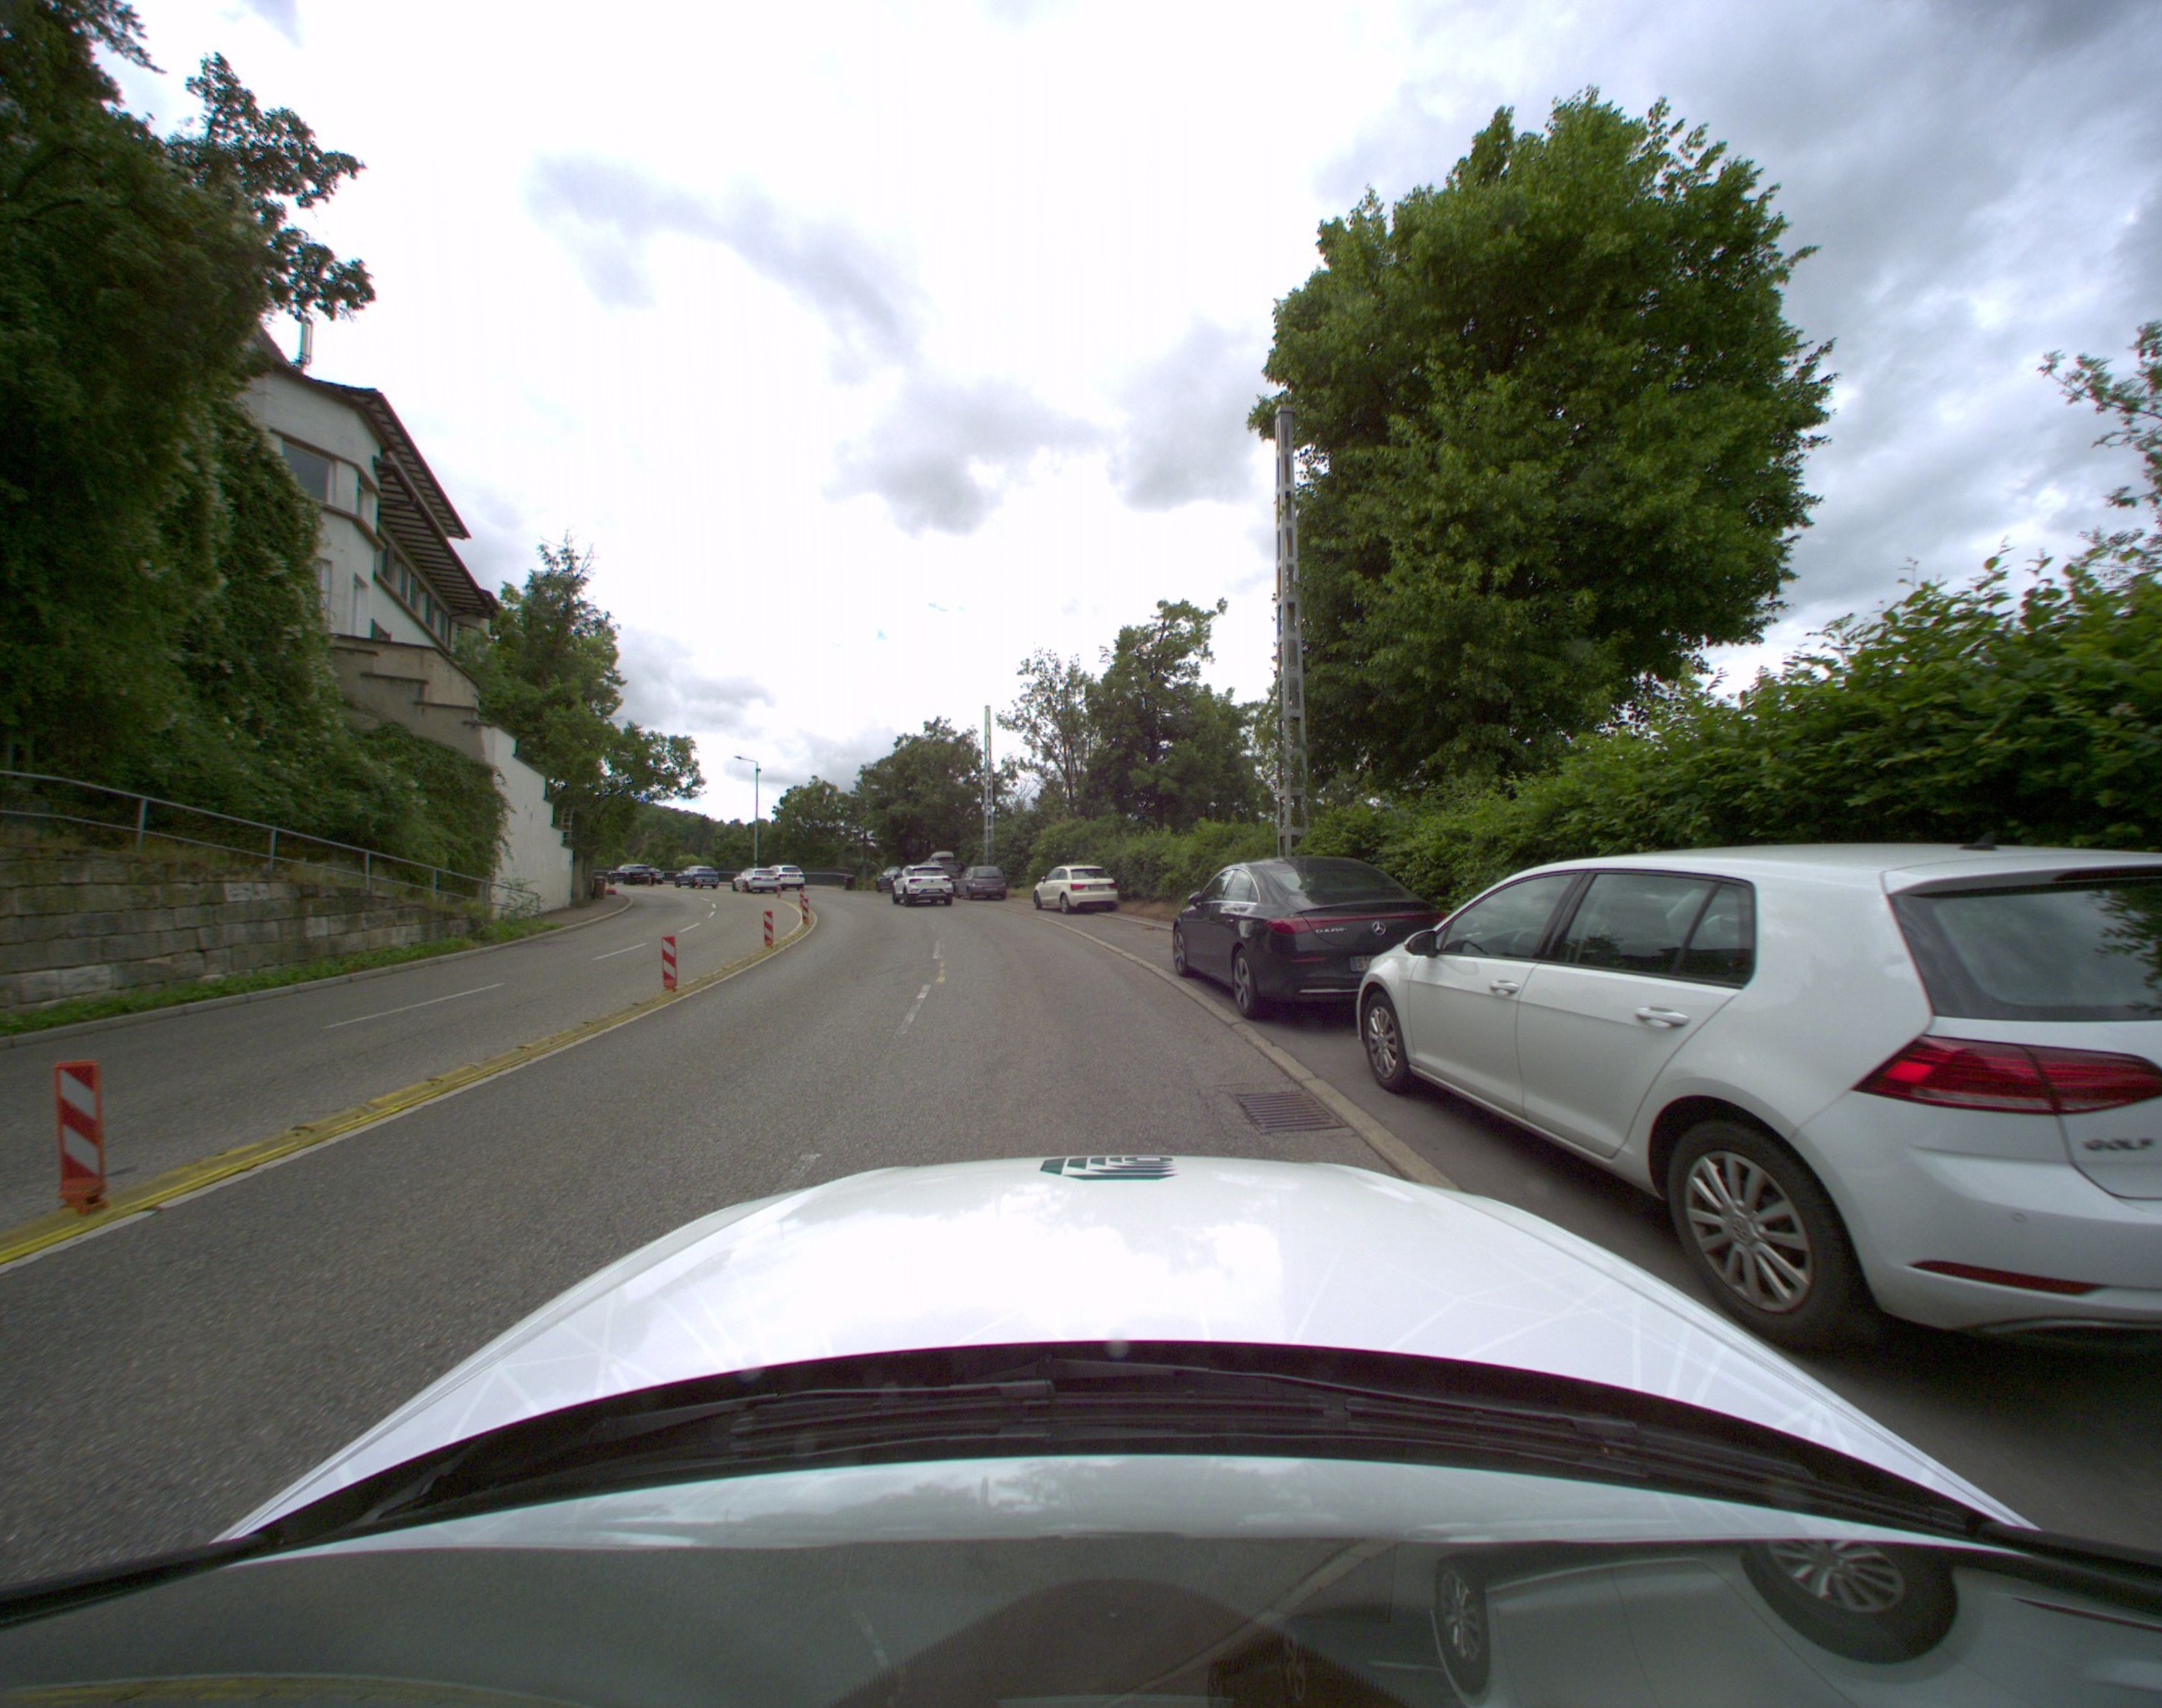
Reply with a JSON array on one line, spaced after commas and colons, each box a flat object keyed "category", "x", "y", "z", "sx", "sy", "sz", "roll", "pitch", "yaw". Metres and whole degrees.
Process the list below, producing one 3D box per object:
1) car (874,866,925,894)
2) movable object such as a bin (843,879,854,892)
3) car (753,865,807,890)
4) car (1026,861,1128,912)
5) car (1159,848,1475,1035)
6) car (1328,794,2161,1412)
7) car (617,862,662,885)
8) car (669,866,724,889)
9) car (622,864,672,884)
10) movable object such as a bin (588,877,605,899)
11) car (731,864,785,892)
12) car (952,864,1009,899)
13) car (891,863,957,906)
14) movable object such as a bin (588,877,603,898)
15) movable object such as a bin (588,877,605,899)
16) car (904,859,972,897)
[{"category": "car", "x": -10.247, "y": 1.440, "z": 45.791, "sx": 1.670, "sy": 1.487, "sz": 3.995, "roll": 2, "pitch": -2, "yaw": -30}, {"category": "movable object such as a bin", "x": -15.941, "y": 2.132, "z": 55.850, "sx": 0.524, "sy": 0.881, "sz": 0.526, "roll": 4, "pitch": -3, "yaw": -41}, {"category": "car", "x": -19.728, "y": 1.517, "z": 53.255, "sx": 2.010, "sy": 1.586, "sz": 3.952, "roll": 4, "pitch": -3, "yaw": -41}, {"category": "car", "x": -0.218, "y": 0.992, "z": 25.646, "sx": 1.785, "sy": 1.418, "sz": 3.969, "roll": -1, "pitch": -1, "yaw": -23}, {"category": "car", "x": 2.160, "y": 0.734, "z": 8.949, "sx": 1.698, "sy": 1.464, "sz": 4.654, "roll": -1, "pitch": -1, "yaw": -6}, {"category": "car", "x": 2.705, "y": 0.615, "z": 3.931, "sx": 1.696, "sy": 1.464, "sz": 3.831, "roll": -2, "pitch": -1, "yaw": -3}, {"category": "car", "x": -35.039, "y": 1.547, "z": 64.566, "sx": 3.949, "sy": 1.690, "sz": 1.832, "roll": 0, "pitch": -3, "yaw": 41}, {"category": "car", "x": -27.098, "y": 1.658, "z": 57.423, "sx": 3.959, "sy": 1.541, "sz": 2.012, "roll": 0, "pitch": -3, "yaw": 41}, {"category": "car", "x": -36.776, "y": 1.699, "z": 69.015, "sx": 3.495, "sy": 1.526, "sz": 1.708, "roll": 1, "pitch": -2, "yaw": 20}, {"category": "movable object such as a bin", "x": -21.080, "y": 1.476, "z": 35.434, "sx": 0.611, "sy": 0.949, "sz": 0.551, "roll": 3, "pitch": -3, "yaw": -31}, {"category": "car", "x": -19.327, "y": 1.417, "z": 48.657, "sx": 1.921, "sy": 1.574, "sz": 3.955, "roll": 3, "pitch": -3, "yaw": -37}, {"category": "car", "x": -4.458, "y": 1.191, "z": 35.627, "sx": 1.646, "sy": 1.464, "sz": 3.973, "roll": 1, "pitch": -2, "yaw": -20}, {"category": "car", "x": -6.225, "y": 1.152, "z": 32.058, "sx": 1.874, "sy": 1.536, "sz": 3.776, "roll": -1, "pitch": -1, "yaw": -22}, {"category": "movable object such as a bin", "x": -21.777, "y": 1.501, "z": 36.519, "sx": 0.546, "sy": 0.949, "sz": 0.561, "roll": 3, "pitch": -3, "yaw": -31}, {"category": "movable object such as a bin", "x": -21.377, "y": 1.509, "z": 35.912, "sx": 0.611, "sy": 0.949, "sz": 0.575, "roll": 3, "pitch": -3, "yaw": -31}, {"category": "car", "x": -7.178, "y": 1.180, "z": 40.556, "sx": 1.810, "sy": 1.772, "sz": 4.562, "roll": 1, "pitch": -2, "yaw": -31}]
